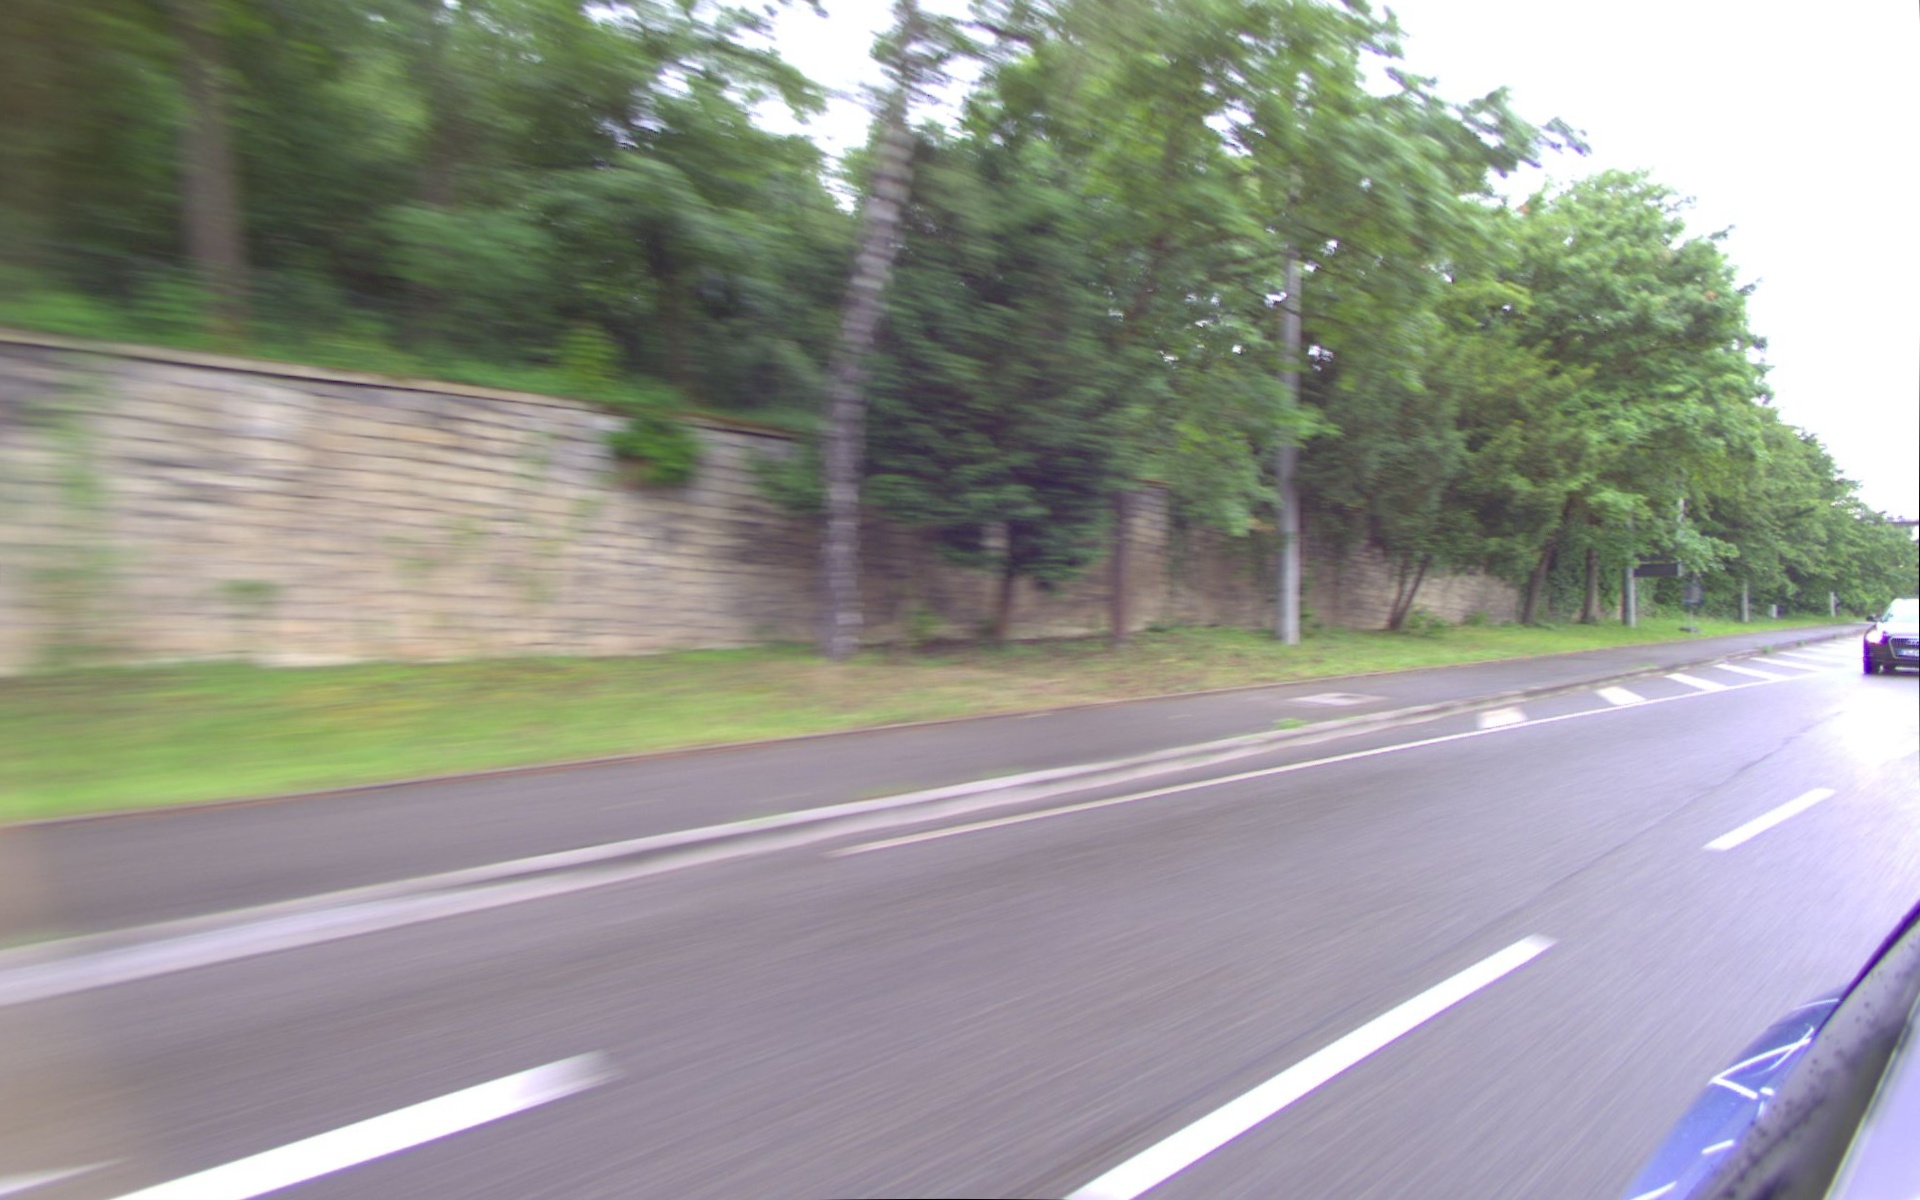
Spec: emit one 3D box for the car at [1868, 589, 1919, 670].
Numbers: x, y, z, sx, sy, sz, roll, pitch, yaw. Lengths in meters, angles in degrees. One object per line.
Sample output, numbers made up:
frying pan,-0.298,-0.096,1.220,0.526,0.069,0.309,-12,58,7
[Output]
car,21.177,0.592,21.800,4.205,1.621,1.926,-1,1,-41
